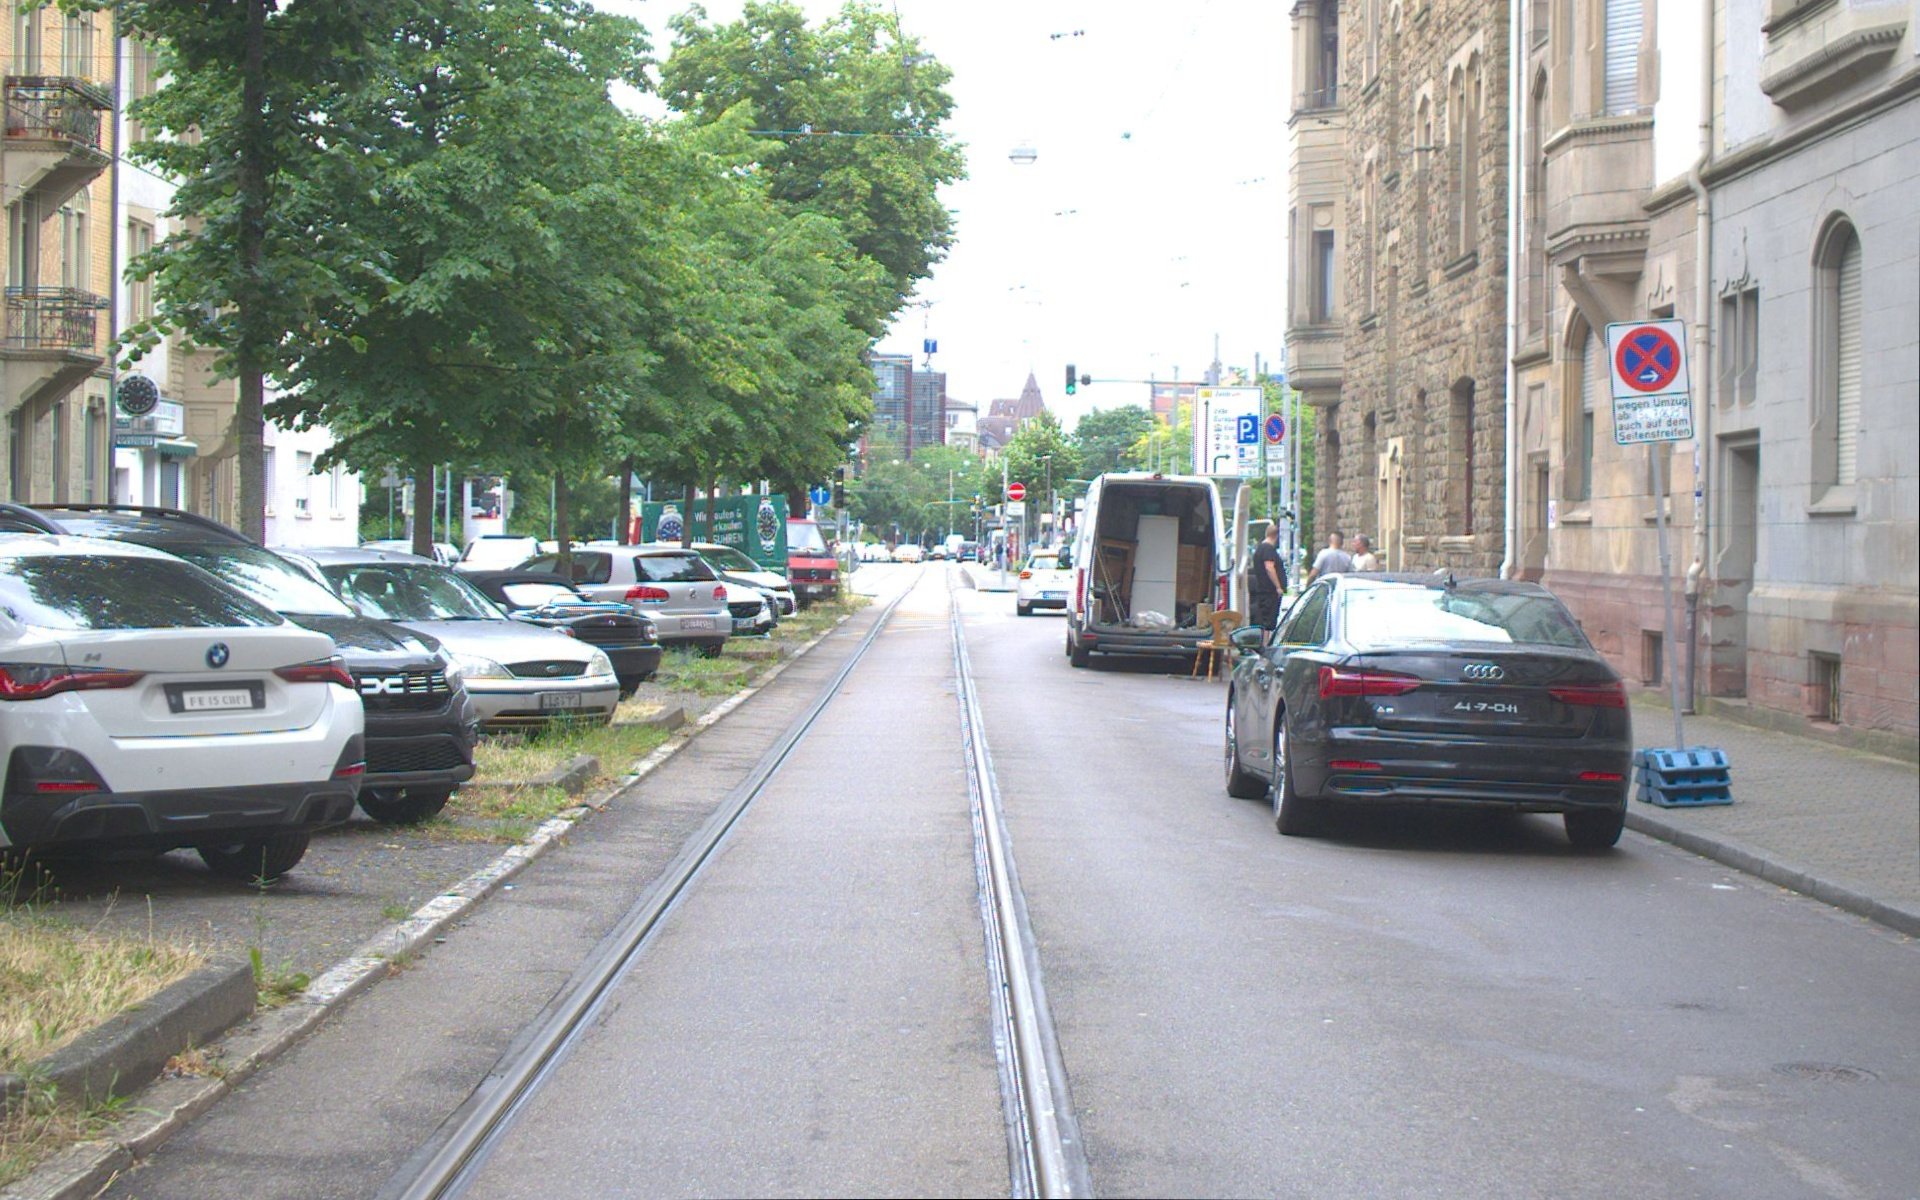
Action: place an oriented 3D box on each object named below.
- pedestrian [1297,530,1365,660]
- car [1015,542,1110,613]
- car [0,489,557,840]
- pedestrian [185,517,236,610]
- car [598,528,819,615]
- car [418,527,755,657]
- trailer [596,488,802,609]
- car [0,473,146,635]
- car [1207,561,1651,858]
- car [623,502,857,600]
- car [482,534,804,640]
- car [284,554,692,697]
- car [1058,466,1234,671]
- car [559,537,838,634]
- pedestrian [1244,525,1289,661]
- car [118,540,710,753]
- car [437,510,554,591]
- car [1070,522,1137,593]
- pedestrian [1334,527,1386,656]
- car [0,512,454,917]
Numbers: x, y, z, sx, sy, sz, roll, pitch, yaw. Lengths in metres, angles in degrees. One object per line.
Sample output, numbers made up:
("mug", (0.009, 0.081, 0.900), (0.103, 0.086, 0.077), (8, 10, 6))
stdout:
("pedestrian", (4.897, -0.069, 45.381), (0.702, 1.694, 0.493), (-2, 1, -28))
("car", (2.239, -0.507, 74.123), (1.783, 1.467, 4.009), (1, 1, 5))
("car", (-4.267, 0.260, 18.160), (4.530, 1.627, 1.761), (1, 1, 44))
("pedestrian", (-14.264, -0.701, 65.442), (0.797, 1.760, 0.900), (0, 1, -1))
("car", (-4.450, -0.512, 60.527), (3.860, 1.458, 1.685), (2, 1, 42))
("car", (-4.642, -0.124, 42.440), (4.114, 1.479, 1.793), (2, 1, 41))
("trailer", (-5.198, -1.031, 68.374), (3.666, 2.336, 1.927), (1, 1, 33))
("car", (-11.893, -0.588, 43.785), (1.881, 1.945, 5.094), (1, 1, -1))
("car", (2.576, 0.529, 20.109), (1.801, 1.433, 5.196), (1, 1, -1))
("car", (-4.585, -1.031, 71.273), (4.763, 1.967, 1.955), (1, 1, 38))
("car", (-4.663, -0.211, 50.203), (4.684, 1.430, 1.894), (2, 1, 39))
("car", (-4.464, 0.202, 32.188), (3.960, 1.198, 1.664), (2, 1, 44))
("car", (2.469, -0.464, 47.316), (2.013, 2.540, 7.016), (2, 1, 1))
("car", (-4.146, -0.252, 54.075), (4.337, 1.430, 1.894), (2, 1, 42))
("pedestrian", (4.114, -0.102, 46.127), (0.499, 1.809, 0.803), (-1, 1, 1))
("car", (-4.080, 0.282, 25.161), (4.665, 1.363, 1.753), (2, 1, 43))
("car", (-9.356, -0.992, 69.499), (1.804, 1.574, 4.547), (1, 1, -1))
("car", (4.054, -1.224, 97.711), (1.782, 1.956, 4.382), (1, 1, 1))
("pedestrian", (5.372, -0.122, 46.213), (0.507, 1.711, 0.581), (-2, 1, -10))
("car", (-4.415, 0.381, 14.908), (4.539, 1.485, 2.030), (1, 1, 44))
